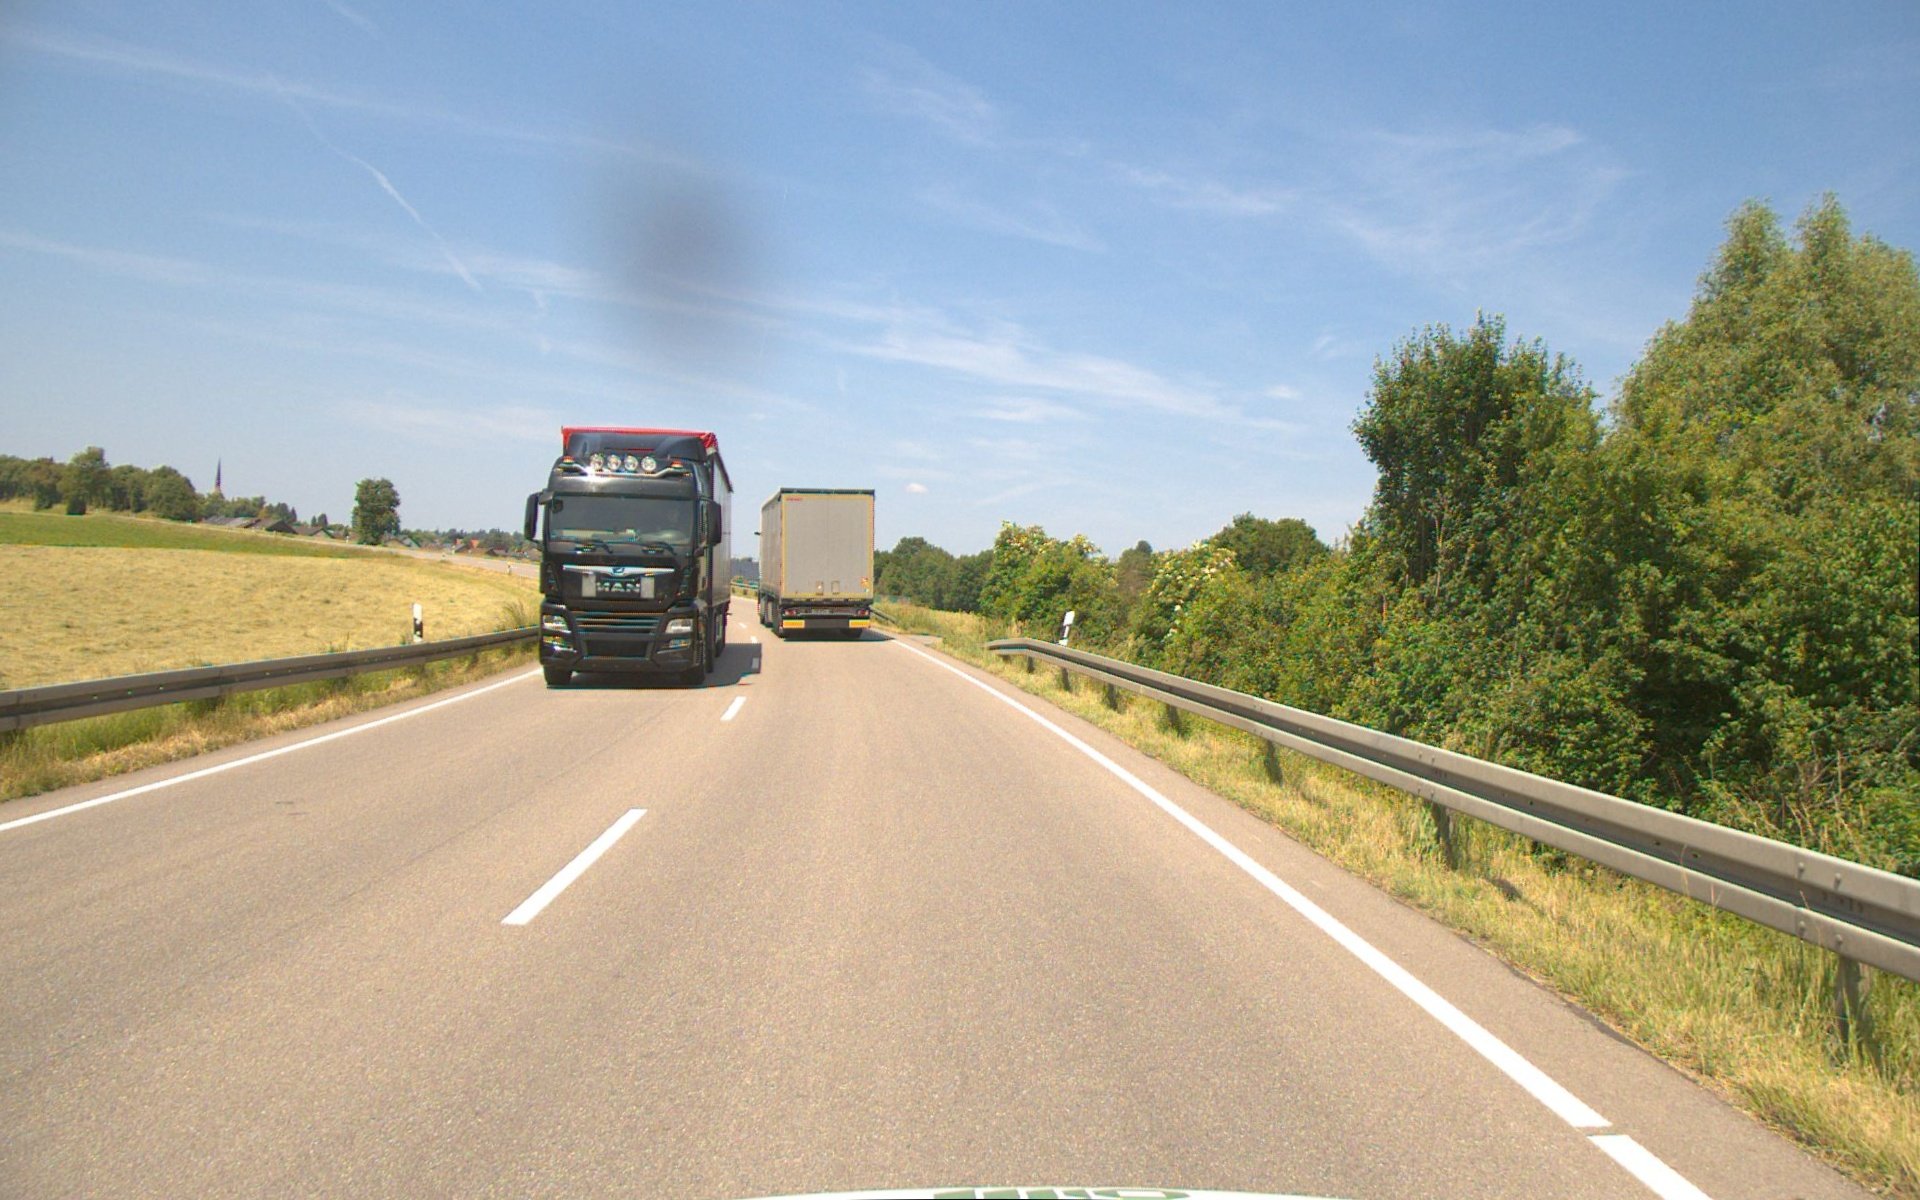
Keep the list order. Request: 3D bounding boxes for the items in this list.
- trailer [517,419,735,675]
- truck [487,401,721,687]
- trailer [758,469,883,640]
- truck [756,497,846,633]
[{"bbox_3d":[-6.505,-0.963,34.621,3.179,4.222,14.424,0,1,-6],"label":"trailer"},{"bbox_3d":[-5.755,-0.850,27.872,3.179,4.222,6.642,0,0,-6],"label":"truck"},{"bbox_3d":[-4.481,-1.297,50.212,2.814,4.477,13.466,1,1,-9],"label":"trailer"},{"bbox_3d":[-5.564,-1.164,57.254,2.806,4.477,5.060,1,0,-9],"label":"truck"}]
